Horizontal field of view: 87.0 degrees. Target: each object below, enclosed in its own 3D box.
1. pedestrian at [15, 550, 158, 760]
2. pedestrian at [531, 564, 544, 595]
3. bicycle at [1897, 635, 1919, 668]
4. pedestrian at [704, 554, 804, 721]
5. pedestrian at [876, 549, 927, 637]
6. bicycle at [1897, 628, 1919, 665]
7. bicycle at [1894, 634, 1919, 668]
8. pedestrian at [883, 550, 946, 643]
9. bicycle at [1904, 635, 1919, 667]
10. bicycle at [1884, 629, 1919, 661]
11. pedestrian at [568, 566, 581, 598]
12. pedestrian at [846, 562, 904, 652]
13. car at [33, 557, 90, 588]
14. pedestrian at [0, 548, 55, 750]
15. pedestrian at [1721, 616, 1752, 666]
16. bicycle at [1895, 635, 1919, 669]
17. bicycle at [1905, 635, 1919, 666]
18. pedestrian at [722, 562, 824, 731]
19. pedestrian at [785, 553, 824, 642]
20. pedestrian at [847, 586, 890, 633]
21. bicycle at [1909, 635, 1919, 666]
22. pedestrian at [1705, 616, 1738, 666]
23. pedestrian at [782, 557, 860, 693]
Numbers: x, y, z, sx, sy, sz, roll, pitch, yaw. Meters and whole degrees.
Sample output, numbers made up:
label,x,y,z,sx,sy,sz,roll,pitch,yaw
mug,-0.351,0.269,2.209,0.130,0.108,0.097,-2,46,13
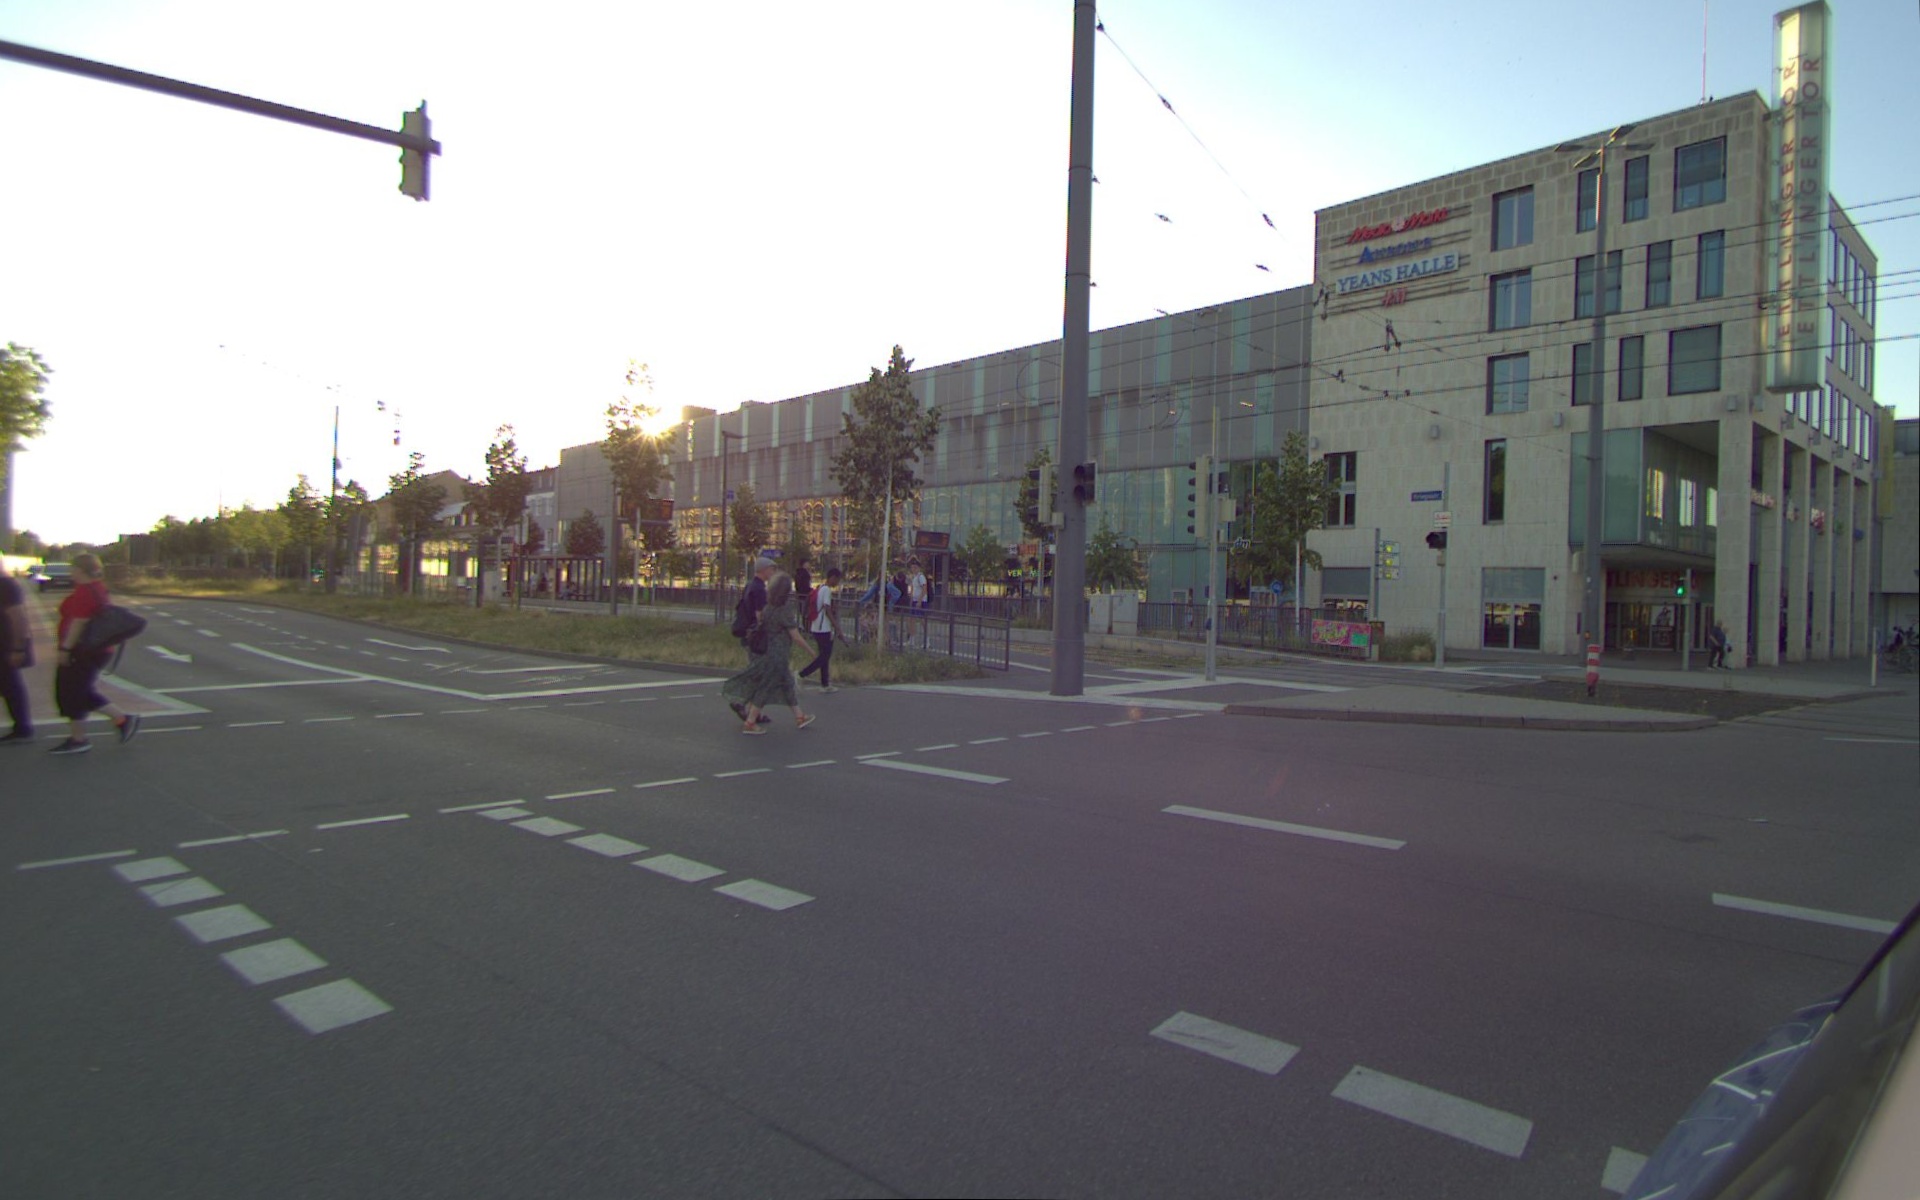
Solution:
label,x,y,z,sx,sy,sz,roll,pitch,yaw
pedestrian,-7.610,0.459,8.861,0.855,1.734,0.644,2,0,-38
pedestrian,-26.272,-1.261,62.927,0.604,1.876,0.728,0,3,-29
bicycle,40.562,2.193,41.932,0.608,1.340,2.507,1,1,-40
pedestrian,-2.270,0.390,11.164,0.855,1.752,0.644,1,0,-38
pedestrian,-1.282,-0.174,22.251,0.882,1.876,0.723,3,3,17
bicycle,36.328,1.744,38.585,2.466,1.340,0.618,1,0,-42
bicycle,39.381,2.095,40.760,0.608,1.340,2.507,1,1,-40
pedestrian,-0.966,-0.079,21.292,0.985,1.876,0.896,1,3,-27
bicycle,41.889,2.225,43.025,0.608,1.340,2.507,1,1,-40
bicycle,38.210,1.809,39.661,0.749,1.231,2.812,1,1,-30
pedestrian,-23.913,-1.118,62.762,0.604,1.873,0.729,0,9,-29
pedestrian,-1.721,0.129,20.351,0.986,1.745,0.873,1,3,-13
car,-48.625,-1.497,54.757,3.987,1.549,1.968,2,0,44
pedestrian,-8.671,0.426,9.216,0.566,1.766,0.644,0,5,-37
pedestrian,28.015,1.468,36.505,0.820,1.728,0.763,2,-1,-44
bicycle,40.064,2.178,41.465,0.608,1.340,2.507,1,1,-40
bicycle,42.468,2.241,43.569,0.608,1.340,2.507,1,1,-40
pedestrian,-1.951,0.449,10.586,0.855,1.680,0.644,-1,2,-38
pedestrian,-3.357,-0.061,21.882,0.575,1.877,0.604,1,0,-38
pedestrian,-1.967,0.208,21.739,0.643,0.975,0.648,2,0,-45
bicycle,43.154,2.258,44.147,0.608,1.340,2.507,1,1,-40
pedestrian,27.013,1.437,35.884,0.820,1.728,0.764,2,0,-41
pedestrian,-1.947,0.330,14.160,0.855,1.836,0.644,0,1,-38
